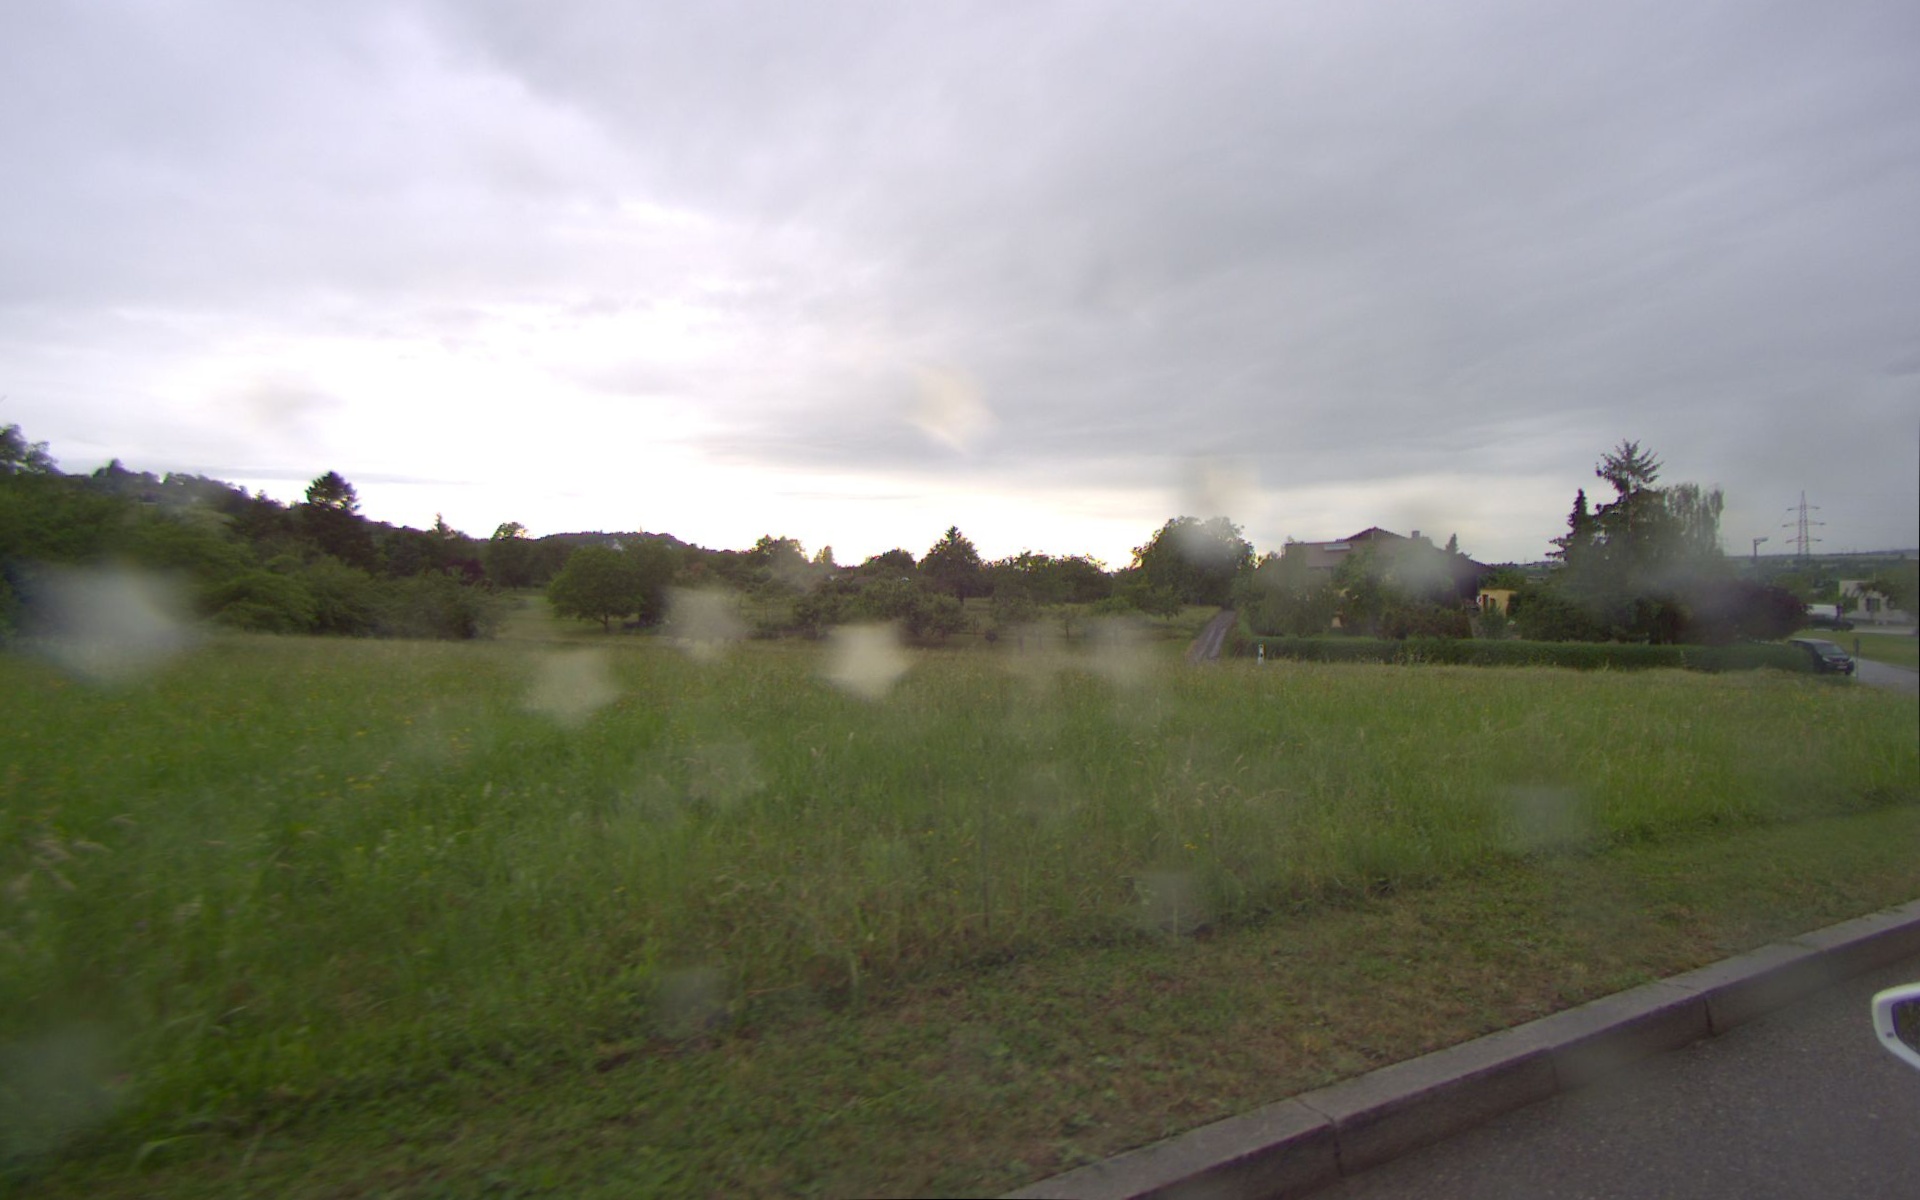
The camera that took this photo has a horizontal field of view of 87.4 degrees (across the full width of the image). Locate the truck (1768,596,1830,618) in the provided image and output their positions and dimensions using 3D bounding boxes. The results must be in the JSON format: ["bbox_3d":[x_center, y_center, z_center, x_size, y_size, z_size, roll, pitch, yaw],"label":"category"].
[{"bbox_3d":[101.975,0.820,122.174,5.225,2.340,2.434,2,3,22],"label":"truck"}]

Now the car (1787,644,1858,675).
[{"bbox_3d":[52.856,3.605,61.630,1.745,1.618,4.001,0,0,15],"label":"car"}]

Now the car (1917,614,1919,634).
[{"bbox_3d":[88.087,2.252,89.082,4.192,1.725,1.796,2,3,21],"label":"car"}]
